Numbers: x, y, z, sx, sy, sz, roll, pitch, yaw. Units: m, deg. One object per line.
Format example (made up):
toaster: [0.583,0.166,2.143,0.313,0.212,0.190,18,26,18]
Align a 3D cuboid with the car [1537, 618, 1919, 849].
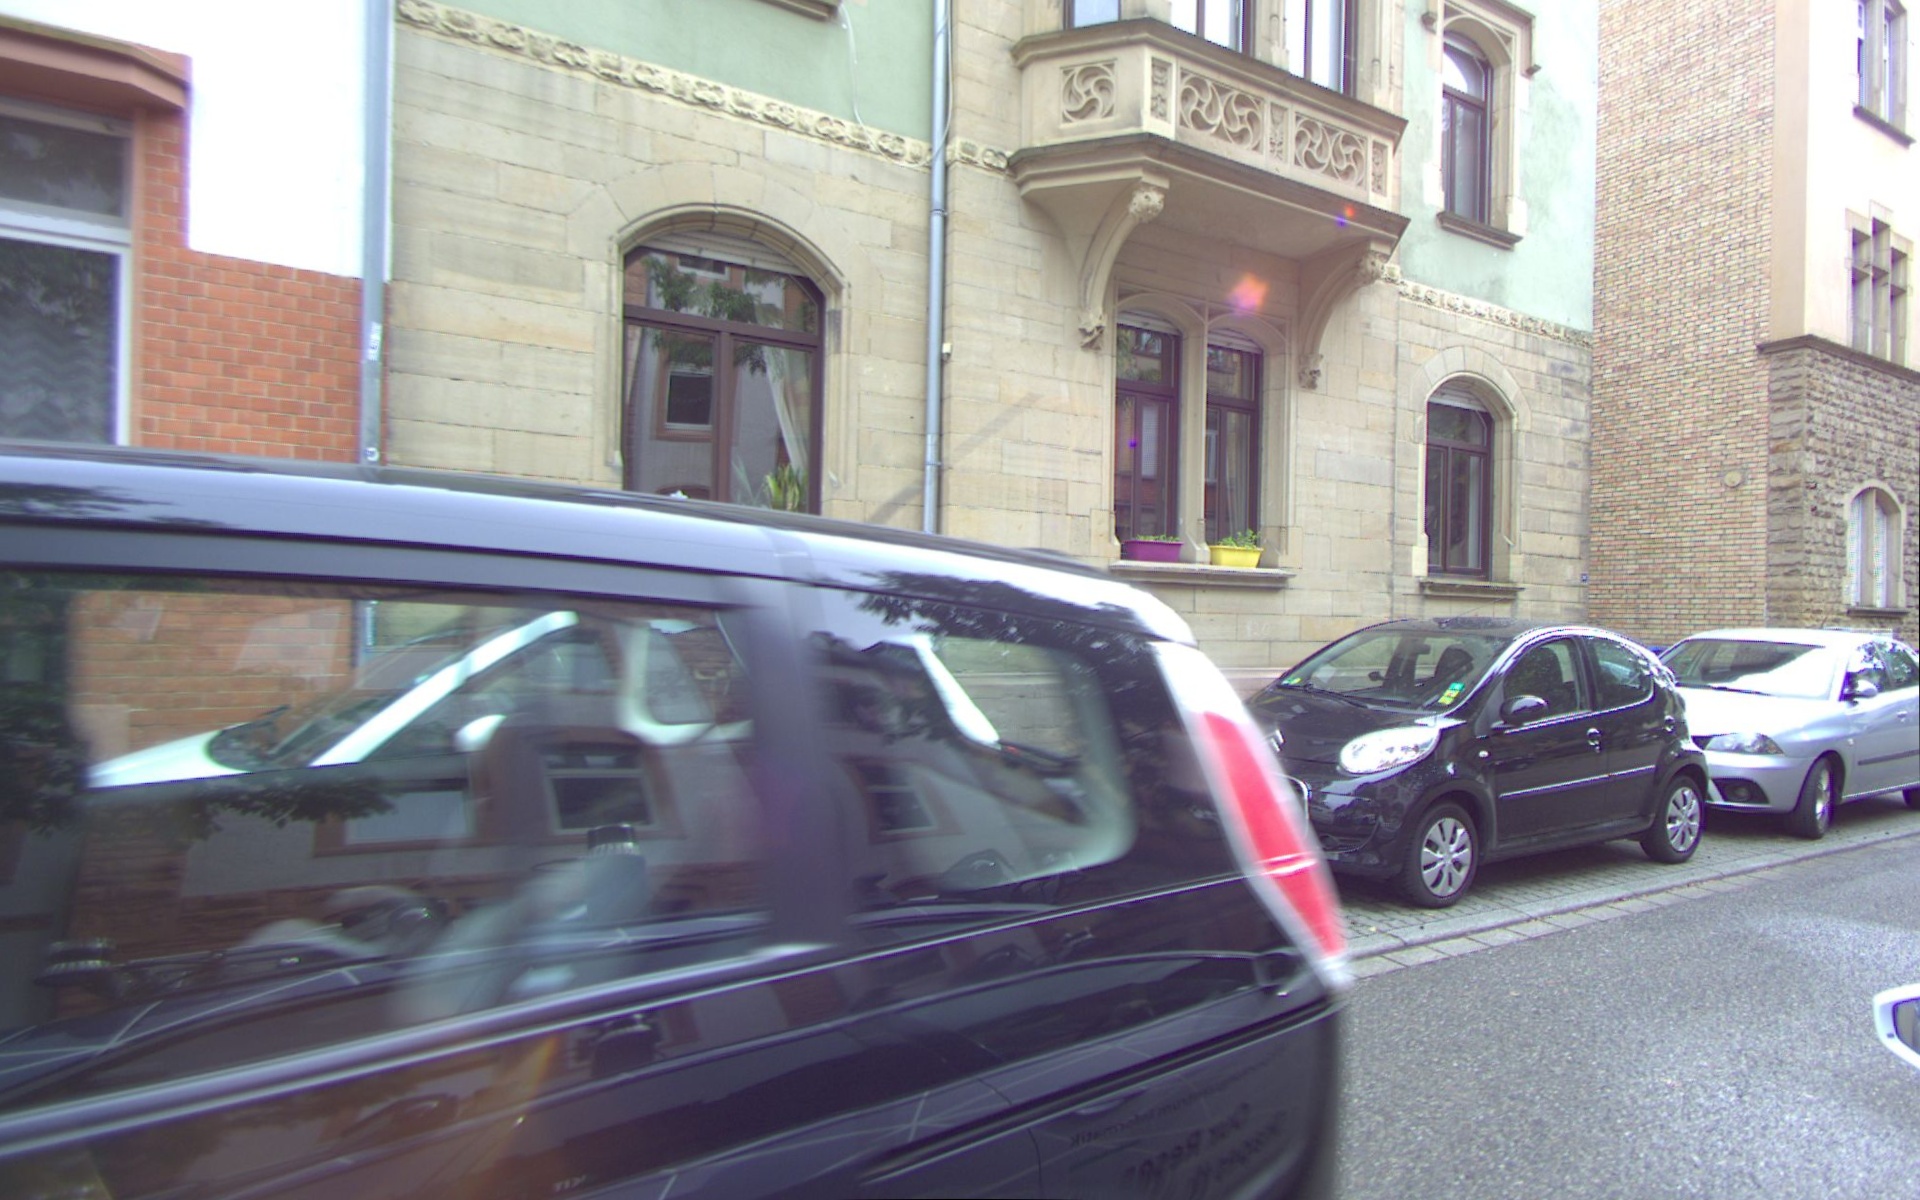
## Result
car: [6.576,0.914,8.208,3.766,1.453,1.581,1,1,-31]

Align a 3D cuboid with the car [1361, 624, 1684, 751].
car: [8.315,1.200,15.228,1.746,1.585,3.970,1,-1,-28]

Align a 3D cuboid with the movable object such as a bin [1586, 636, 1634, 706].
movable object such as a bin: [10.330,1.117,15.963,0.545,1.077,0.437,1,-1,-29]

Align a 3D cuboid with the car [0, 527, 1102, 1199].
car: [-1.361,0.632,3.629,3.517,1.531,1.656,1,0,-34]

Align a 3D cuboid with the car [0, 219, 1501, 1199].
car: [-1.515,0.572,1.164,4.156,1.651,1.802,2,-1,-29]

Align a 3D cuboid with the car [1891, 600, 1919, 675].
car: [27.010,1.048,27.742,1.808,1.994,3.938,0,-1,44]

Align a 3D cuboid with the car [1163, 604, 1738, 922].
car: [3.080,0.794,6.208,3.414,1.453,1.510,1,1,-30]
